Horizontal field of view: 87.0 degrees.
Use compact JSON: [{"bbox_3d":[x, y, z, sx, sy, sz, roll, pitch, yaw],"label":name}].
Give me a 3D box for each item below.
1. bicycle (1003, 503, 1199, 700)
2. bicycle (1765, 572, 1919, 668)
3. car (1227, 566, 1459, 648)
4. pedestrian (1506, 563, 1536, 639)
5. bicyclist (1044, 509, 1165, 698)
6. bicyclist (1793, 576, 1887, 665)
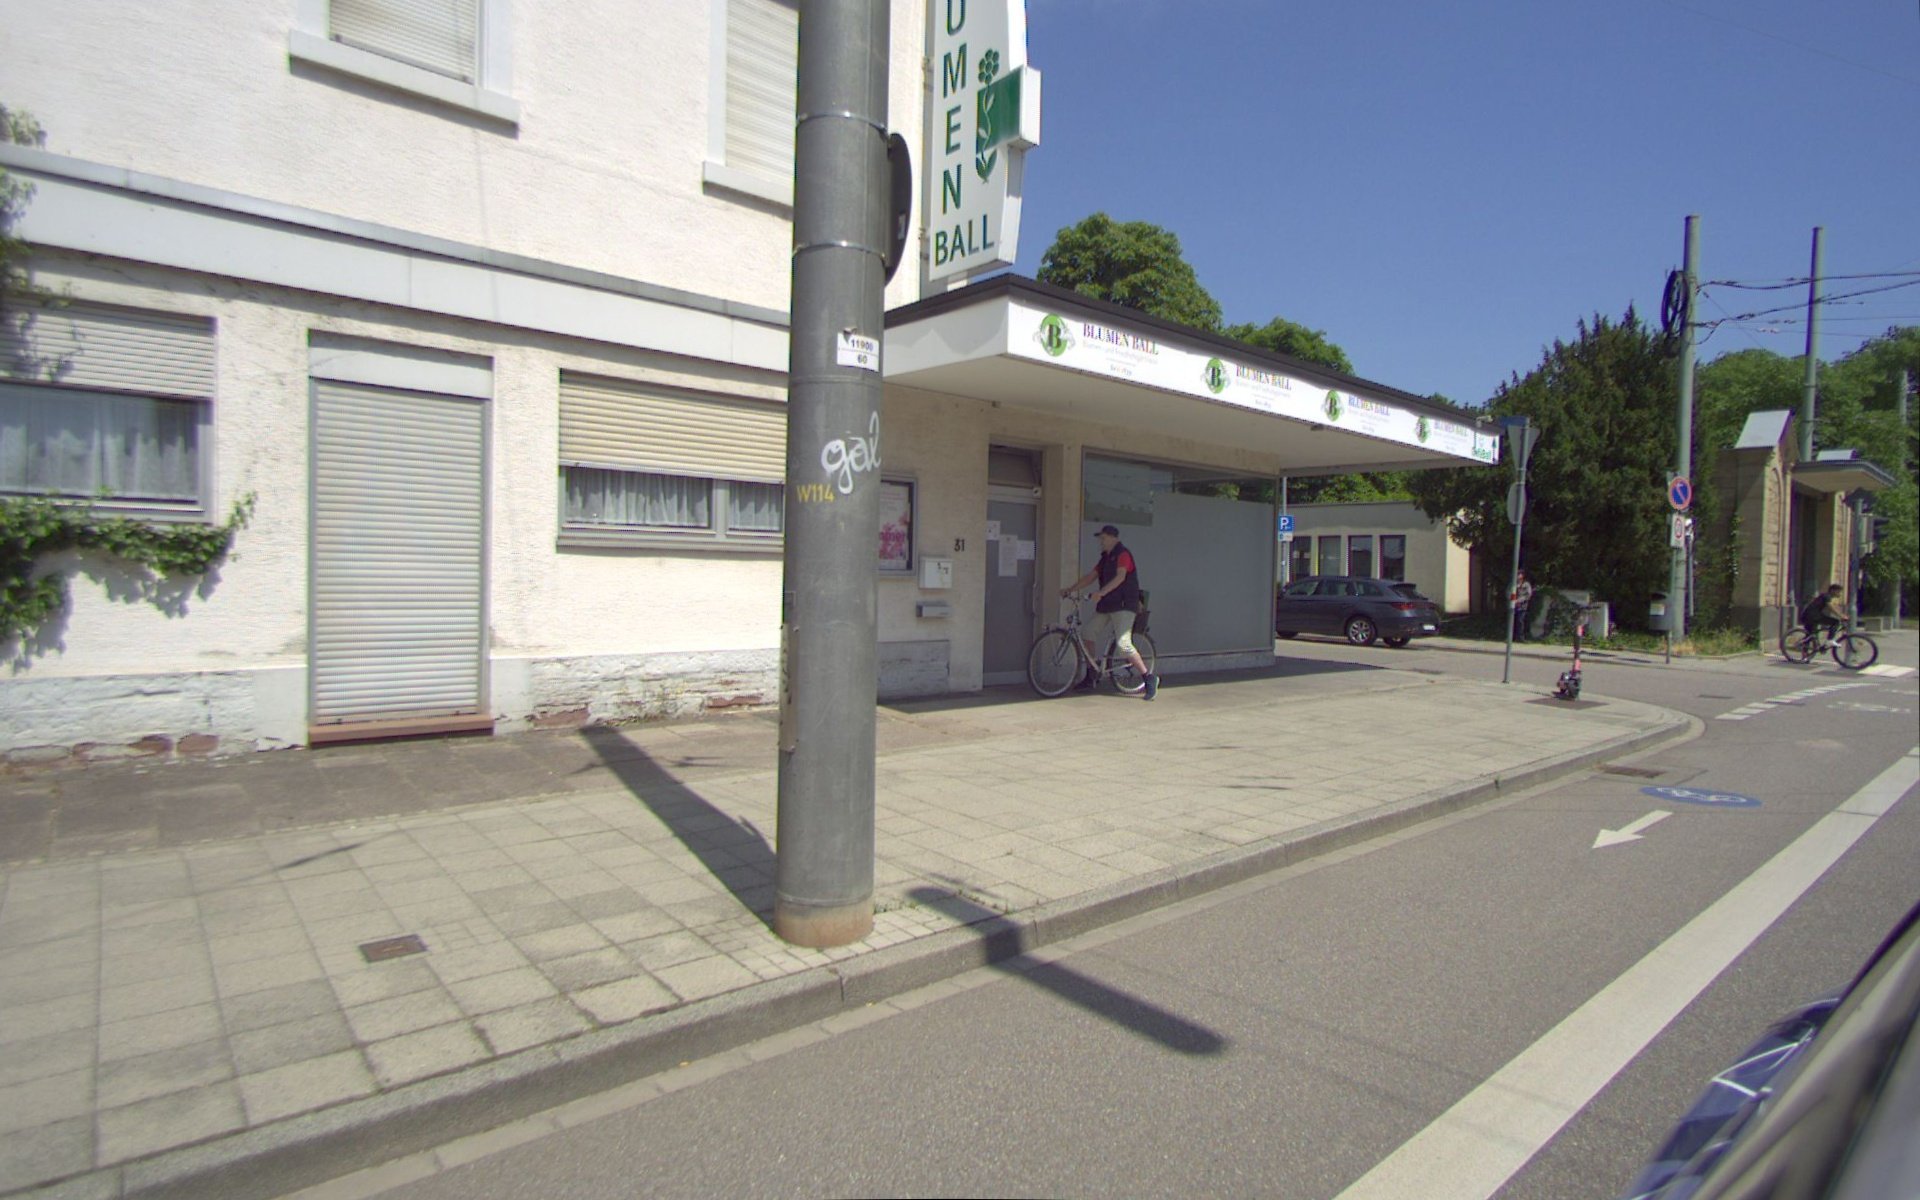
[{"bbox_3d":[1.512,-0.002,10.759,1.920,1.923,0.801,1,4,-34],"label":"bicycle"},{"bbox_3d":[17.314,0.358,19.869,2.024,1.608,0.886,5,5,18],"label":"bicycle"},{"bbox_3d":[8.154,0.084,21.908,1.567,1.475,4.460,1,2,-41],"label":"car"},{"bbox_3d":[12.058,0.015,21.752,0.532,1.618,0.420,0,0,36],"label":"pedestrian"},{"bbox_3d":[1.532,0.013,10.774,0.870,1.897,0.792,1,4,-34],"label":"bicyclist"},{"bbox_3d":[17.257,0.385,19.887,0.973,1.596,0.864,5,4,18],"label":"bicyclist"}]
